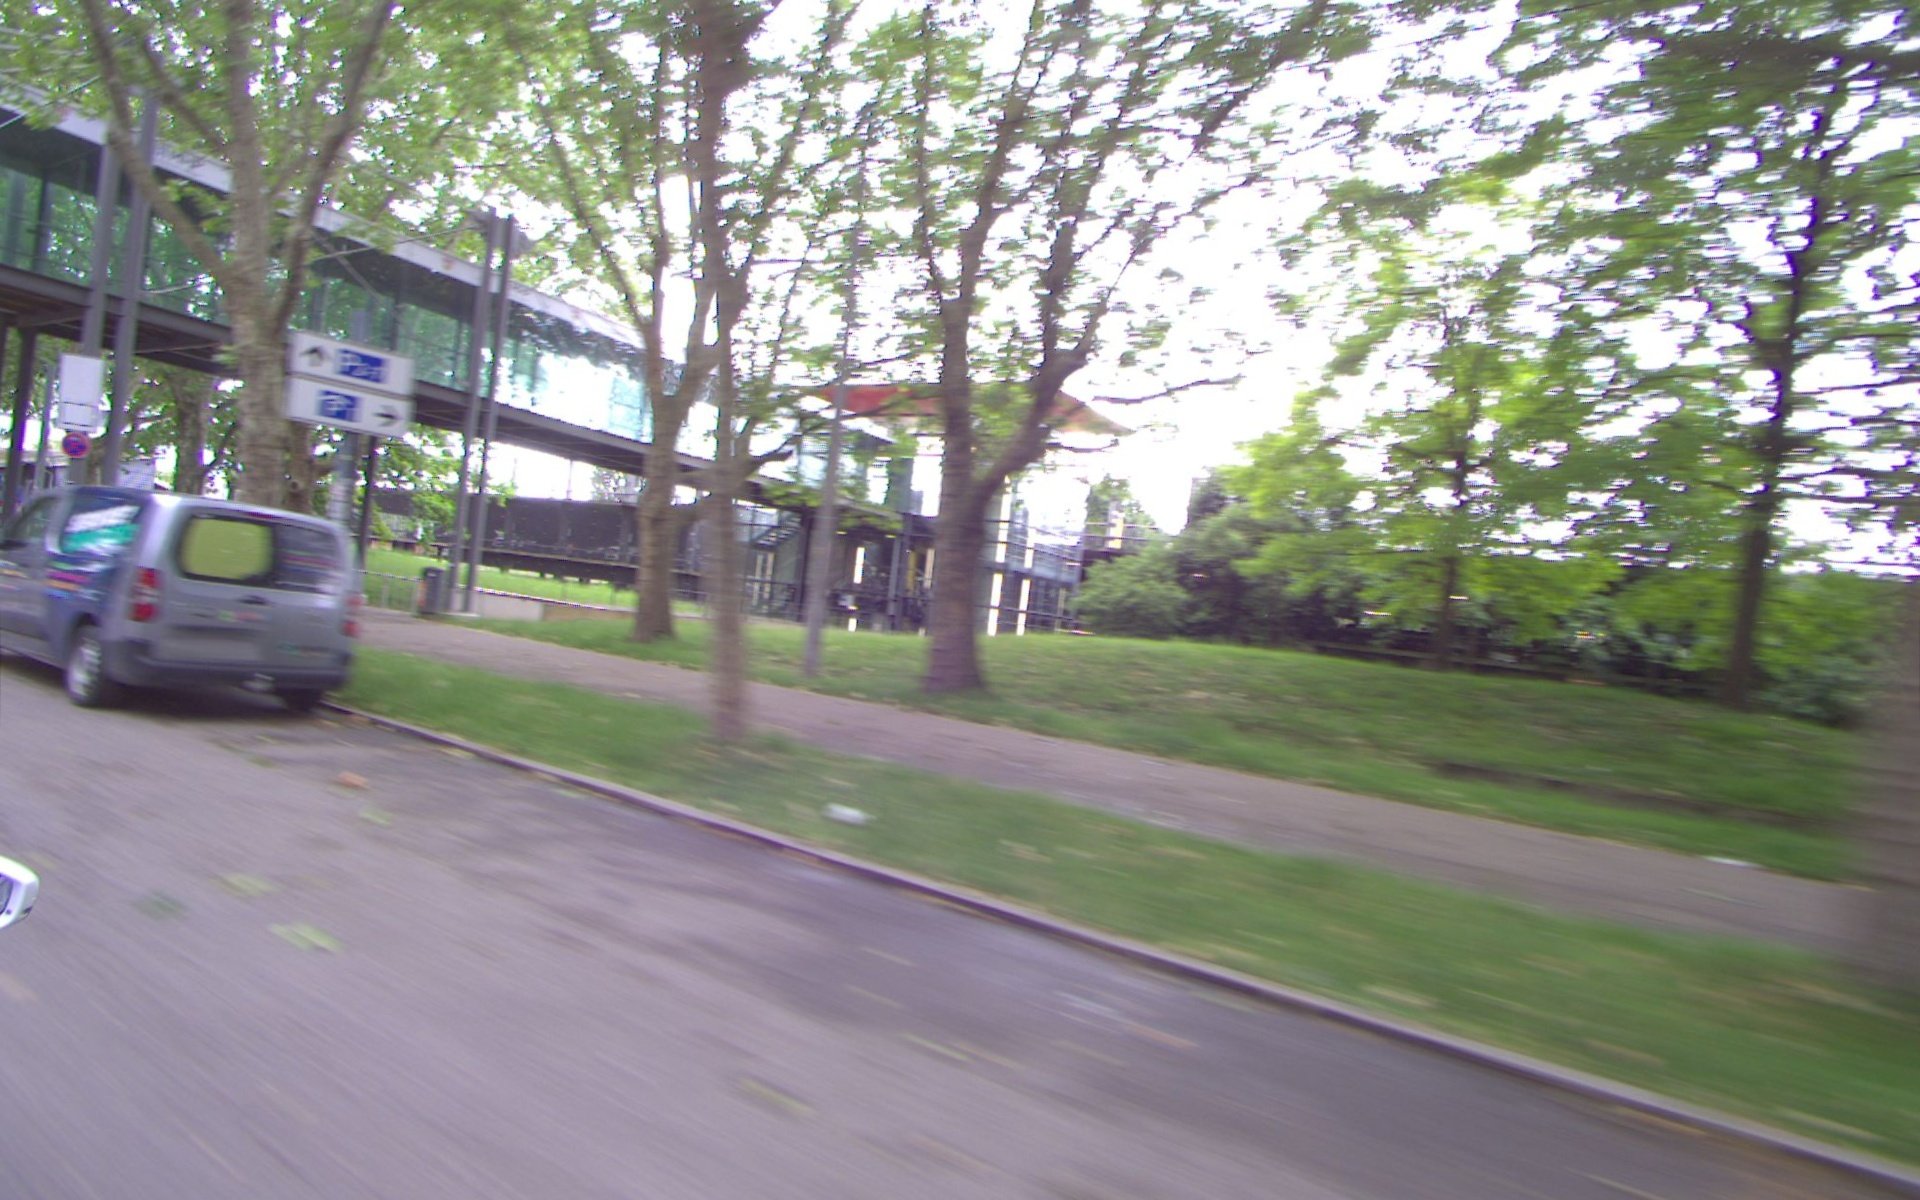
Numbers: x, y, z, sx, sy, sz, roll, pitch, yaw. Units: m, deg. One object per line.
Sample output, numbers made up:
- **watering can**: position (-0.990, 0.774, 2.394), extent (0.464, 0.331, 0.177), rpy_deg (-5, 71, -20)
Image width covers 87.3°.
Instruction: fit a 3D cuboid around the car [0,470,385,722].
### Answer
- **car**: position (-7.900, -0.137, 9.597), extent (5.125, 1.803, 1.851), rpy_deg (6, -2, 32)
